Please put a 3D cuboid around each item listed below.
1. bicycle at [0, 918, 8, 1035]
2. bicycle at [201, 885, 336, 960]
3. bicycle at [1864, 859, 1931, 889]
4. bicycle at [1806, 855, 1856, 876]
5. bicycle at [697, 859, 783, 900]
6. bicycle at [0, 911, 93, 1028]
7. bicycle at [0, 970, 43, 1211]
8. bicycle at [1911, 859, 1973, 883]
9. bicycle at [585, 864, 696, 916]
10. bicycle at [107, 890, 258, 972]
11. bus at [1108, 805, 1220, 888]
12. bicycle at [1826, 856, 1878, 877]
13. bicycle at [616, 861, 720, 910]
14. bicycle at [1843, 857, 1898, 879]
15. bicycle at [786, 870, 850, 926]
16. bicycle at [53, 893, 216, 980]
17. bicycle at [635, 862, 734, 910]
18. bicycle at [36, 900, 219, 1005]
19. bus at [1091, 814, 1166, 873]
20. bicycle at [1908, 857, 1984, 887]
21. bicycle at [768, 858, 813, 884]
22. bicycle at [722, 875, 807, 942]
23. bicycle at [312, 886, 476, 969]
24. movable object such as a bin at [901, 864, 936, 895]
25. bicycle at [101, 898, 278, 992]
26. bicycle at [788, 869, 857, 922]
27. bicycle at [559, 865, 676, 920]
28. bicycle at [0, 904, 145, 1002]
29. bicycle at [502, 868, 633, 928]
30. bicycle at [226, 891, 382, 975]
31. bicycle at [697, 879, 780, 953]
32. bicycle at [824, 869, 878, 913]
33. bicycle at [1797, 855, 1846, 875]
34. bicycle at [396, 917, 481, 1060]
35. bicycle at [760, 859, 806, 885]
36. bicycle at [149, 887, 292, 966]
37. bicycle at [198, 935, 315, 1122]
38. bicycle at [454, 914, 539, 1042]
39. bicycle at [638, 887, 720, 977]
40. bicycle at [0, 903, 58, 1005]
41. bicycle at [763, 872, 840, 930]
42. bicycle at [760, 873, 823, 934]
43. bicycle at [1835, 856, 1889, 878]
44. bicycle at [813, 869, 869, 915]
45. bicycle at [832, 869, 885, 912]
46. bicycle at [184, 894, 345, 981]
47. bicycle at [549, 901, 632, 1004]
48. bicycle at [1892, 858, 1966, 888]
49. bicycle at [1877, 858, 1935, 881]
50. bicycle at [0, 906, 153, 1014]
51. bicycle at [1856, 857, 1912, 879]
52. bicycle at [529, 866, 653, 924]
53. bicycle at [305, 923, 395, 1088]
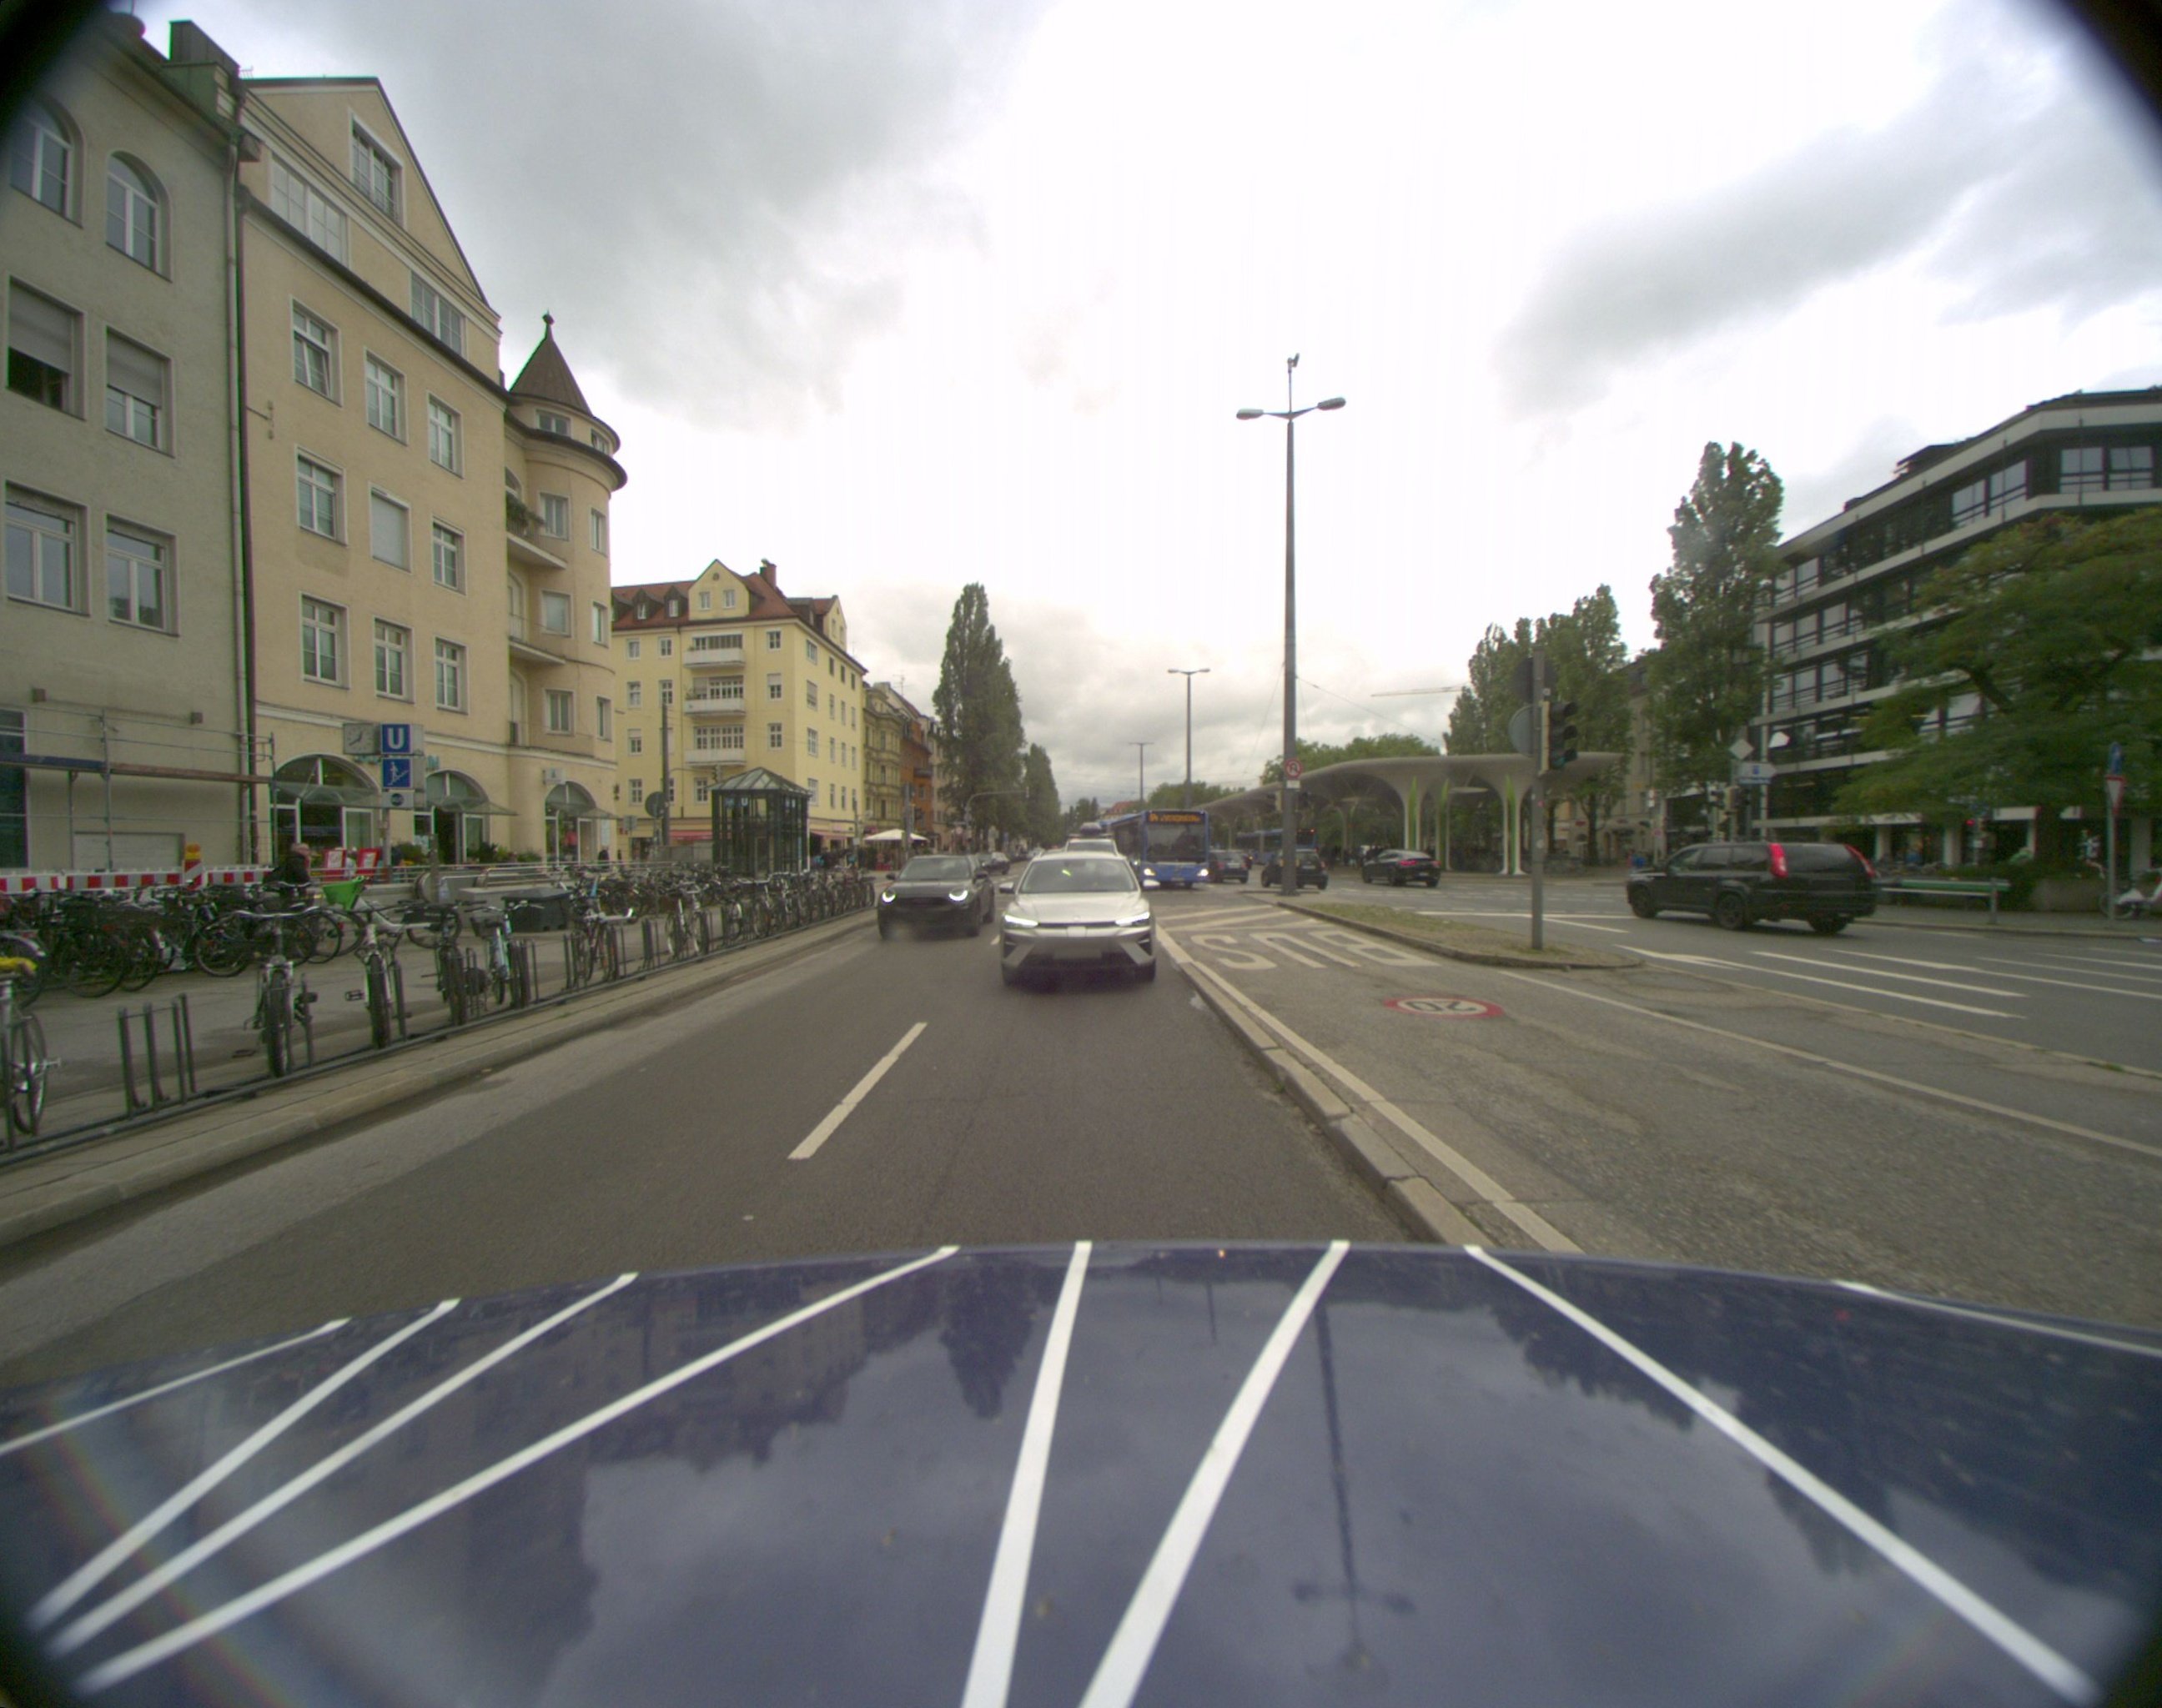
[{"bbox_3d":[-10.674,1.121,6.786,1.539,1.072,0.410,1,2,-1],"label":"bicycle"},{"bbox_3d":[-12.237,1.022,11.455,1.650,1.072,0.410,1,2,3],"label":"bicycle"},{"bbox_3d":[28.862,0.680,26.893,0.510,0.992,1.751,0,1,2],"label":"bicycle"},{"bbox_3d":[41.445,0.629,41.990,2.073,1.127,0.561,0,1,6],"label":"bicycle"},{"bbox_3d":[-10.294,0.766,22.940,2.317,1.220,0.628,0,1,3],"label":"bicycle"},{"bbox_3d":[-10.648,1.104,7.374,1.528,1.072,0.410,1,2,-1],"label":"bicycle"},{"bbox_3d":[-5.653,1.148,3.809,1.797,1.004,0.387,-4,0,39],"label":"bicycle"},{"bbox_3d":[40.695,0.812,35.916,2.073,1.127,0.561,0,1,6],"label":"bicycle"},{"bbox_3d":[-10.635,0.867,18.367,2.342,1.220,0.628,0,1,3],"label":"bicycle"},{"bbox_3d":[-12.198,1.036,10.337,1.452,1.072,0.410,0,2,-4],"label":"bicycle"},{"bbox_3d":[3.186,-0.404,32.916,2.942,2.927,11.207,-1,1,-4],"label":"bus"},{"bbox_3d":[41.331,0.665,40.741,2.073,1.127,0.561,0,1,6],"label":"bicycle"},{"bbox_3d":[-10.584,0.811,19.494,2.330,1.220,0.628,0,1,3],"label":"bicycle"},{"bbox_3d":[41.070,0.705,39.542,2.073,1.127,0.561,0,1,6],"label":"bicycle"},{"bbox_3d":[-5.666,0.919,16.311,1.673,1.131,0.479,-1,2,40],"label":"bicycle"},{"bbox_3d":[-12.183,1.050,9.803,1.452,1.072,0.410,0,2,-4],"label":"bicycle"},{"bbox_3d":[-10.549,0.844,20.251,2.317,1.220,0.628,0,1,3],"label":"bicycle"},{"bbox_3d":[-10.584,1.079,8.448,1.637,1.072,0.410,1,2,5],"label":"bicycle"},{"bbox_3d":[2.501,-0.671,44.100,2.942,2.927,11.207,-1,1,-4],"label":"bus"},{"bbox_3d":[30.672,0.620,26.977,0.510,0.992,1.925,0,1,2],"label":"bicycle"},{"bbox_3d":[-12.824,0.751,33.591,1.822,1.121,0.610,0,0,13],"label":"bicycle"},{"bbox_3d":[-5.922,0.984,14.166,1.790,1.131,0.591,-1,2,37],"label":"bicycle"},{"bbox_3d":[-10.246,1.054,11.395,0.409,1.072,1.765,2,2,41],"label":"bicycle"},{"bbox_3d":[-5.824,0.915,27.303,1.089,1.056,0.747,1,2,-2],"label":"movable object such as a bin"},{"bbox_3d":[-10.792,1.098,9.223,1.625,1.072,0.410,1,2,-1],"label":"bicycle"},{"bbox_3d":[-5.818,0.905,17.076,1.780,1.131,0.479,-1,2,35],"label":"bicycle"},{"bbox_3d":[-10.606,0.865,17.430,2.317,1.220,0.628,0,1,3],"label":"bicycle"},{"bbox_3d":[-11.997,1.146,8.893,1.530,1.072,0.410,1,2,-1],"label":"bicycle"},{"bbox_3d":[-10.820,0.908,16.040,2.367,1.220,0.628,0,1,3],"label":"bicycle"},{"bbox_3d":[-10.510,1.060,10.305,1.655,1.072,0.410,1,2,-1],"label":"bicycle"},{"bbox_3d":[-5.801,1.015,12.830,1.790,1.131,0.490,-1,2,39],"label":"bicycle"},{"bbox_3d":[-5.875,0.961,19.355,1.848,1.053,0.398,-4,0,44],"label":"bicycle"},{"bbox_3d":[41.491,0.612,42.594,2.073,1.127,0.561,0,1,6],"label":"bicycle"},{"bbox_3d":[-5.638,1.101,6.634,0.398,1.053,1.848,-4,0,-44],"label":"bicycle"},{"bbox_3d":[-12.925,0.771,32.945,1.822,1.121,0.610,0,0,13],"label":"bicycle"},{"bbox_3d":[-12.237,1.025,10.824,1.452,1.072,0.410,0,2,-4],"label":"bicycle"},{"bbox_3d":[-5.720,1.113,5.242,1.797,1.053,0.398,-4,0,39],"label":"bicycle"},{"bbox_3d":[-5.664,1.128,7.325,0.398,1.053,1.848,-4,0,-44],"label":"bicycle"},{"bbox_3d":[-5.762,1.065,10.844,0.490,1.131,1.790,-3,2,-45],"label":"bicycle"},{"bbox_3d":[-12.363,1.093,8.350,1.453,1.072,0.410,0,2,-8],"label":"bicycle"},{"bbox_3d":[-5.748,0.941,15.596,1.673,1.131,0.479,-1,2,31],"label":"bicycle"},{"bbox_3d":[-5.703,0.957,14.942,1.521,1.131,0.349,-1,2,37],"label":"bicycle"},{"bbox_3d":[41.247,0.684,40.130,2.073,1.127,0.561,0,1,6],"label":"bicycle"},{"bbox_3d":[-5.861,0.937,18.515,1.848,1.053,0.398,-4,0,44],"label":"bicycle"},{"bbox_3d":[-5.868,0.982,19.962,1.848,1.053,0.398,-4,0,44],"label":"bicycle"},{"bbox_3d":[-10.561,1.074,9.853,1.605,1.072,0.410,1,2,-1],"label":"bicycle"},{"bbox_3d":[-5.710,1.093,8.800,0.398,1.053,1.848,-4,0,-44],"label":"bicycle"},{"bbox_3d":[30.038,0.641,26.965,0.510,0.992,1.925,0,1,2],"label":"bicycle"},{"bbox_3d":[40.840,0.762,37.639,2.073,1.127,0.561,0,1,6],"label":"bicycle"},{"bbox_3d":[-10.860,1.100,7.983,1.661,1.072,0.410,1,2,-1],"label":"bicycle"},{"bbox_3d":[41.020,0.725,38.833,2.073,1.127,0.561,0,1,6],"label":"bicycle"},{"bbox_3d":[-10.761,0.889,16.718,2.342,1.220,0.628,0,1,3],"label":"bicycle"},{"bbox_3d":[-5.688,1.094,5.924,0.398,1.053,1.848,-4,0,-44],"label":"bicycle"}]
